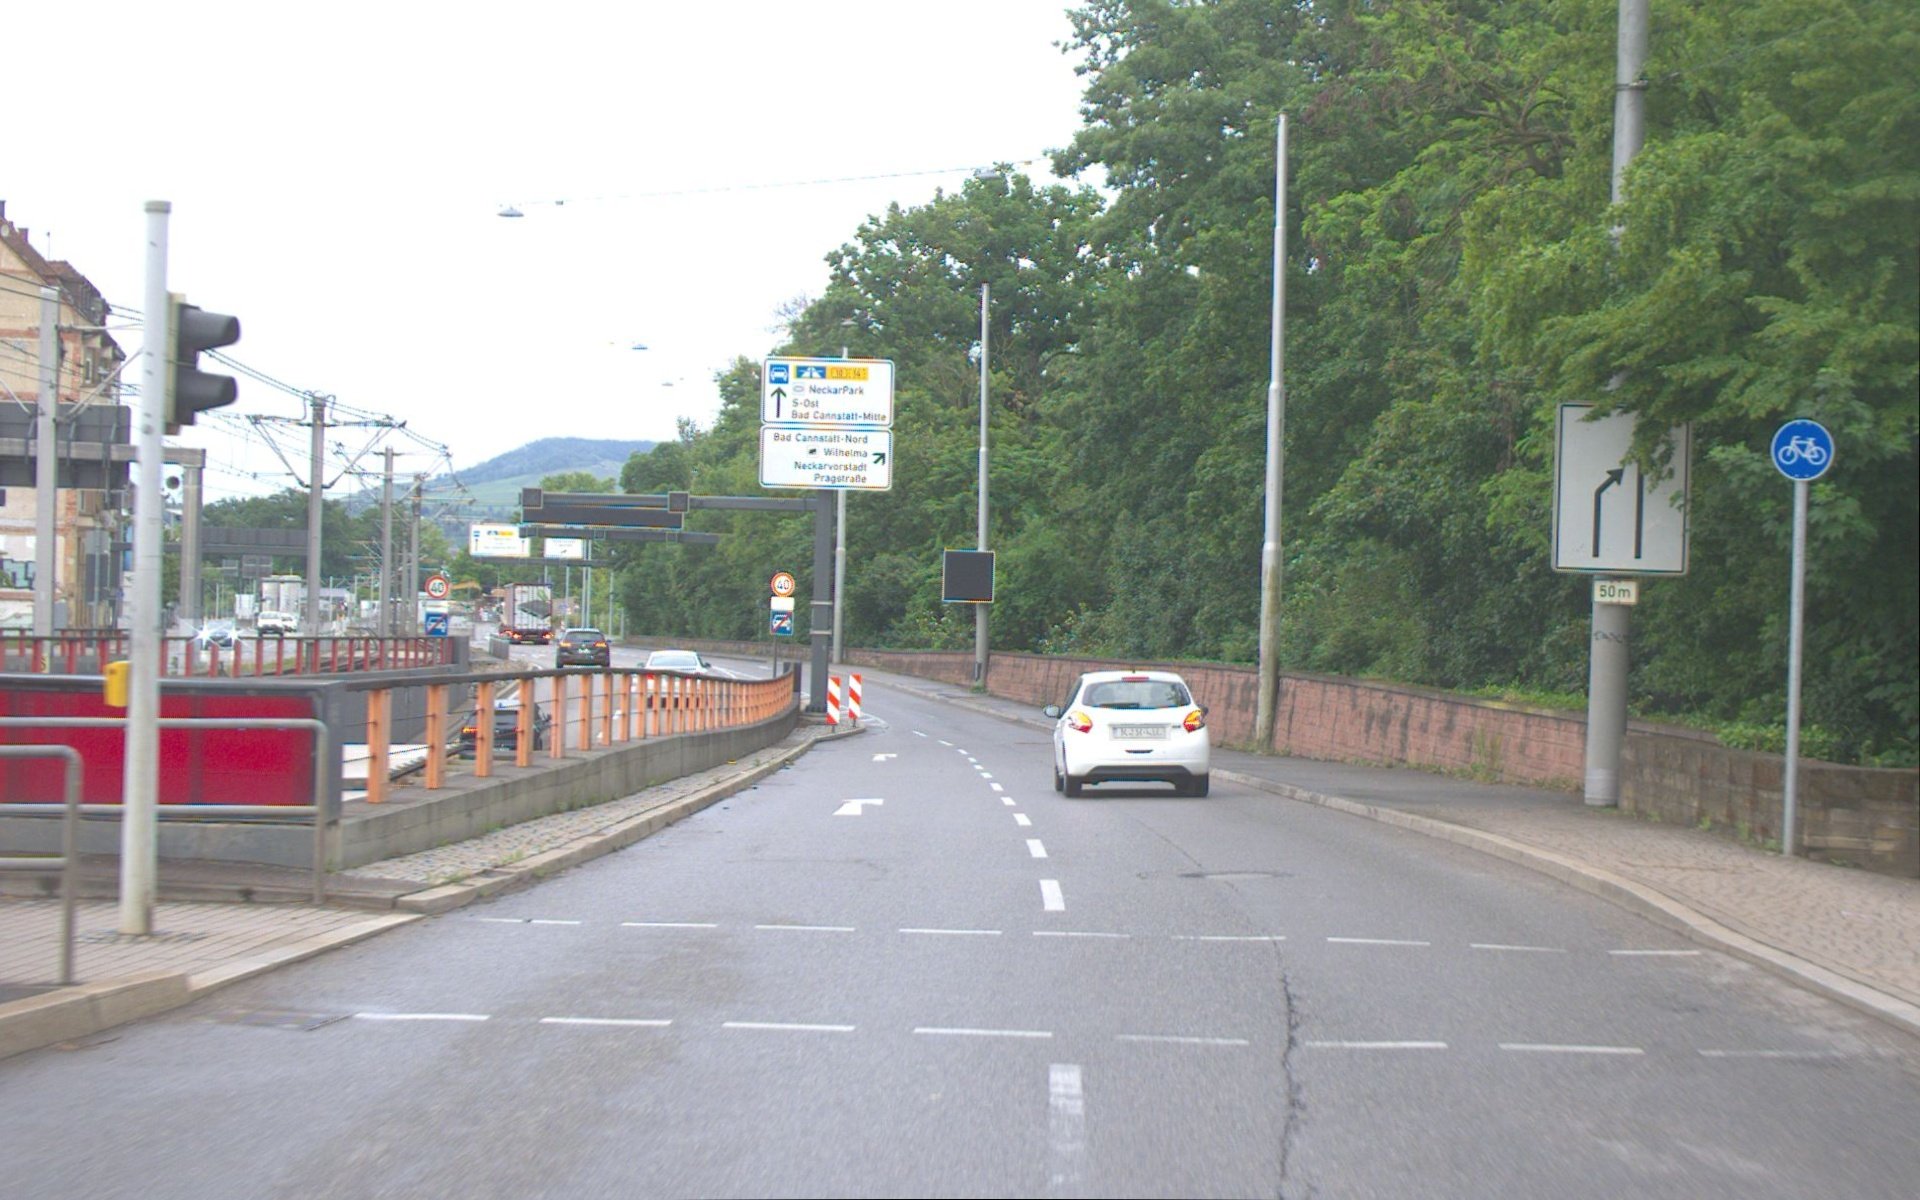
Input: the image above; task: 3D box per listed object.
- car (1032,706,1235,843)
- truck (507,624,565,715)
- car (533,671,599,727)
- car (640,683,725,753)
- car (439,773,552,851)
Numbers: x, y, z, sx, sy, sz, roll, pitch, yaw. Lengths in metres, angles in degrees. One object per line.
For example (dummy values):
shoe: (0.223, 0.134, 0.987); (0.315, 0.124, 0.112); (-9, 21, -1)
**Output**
car: (2.002, 2.116, 40.855); (1.955, 1.483, 3.999); (2, -4, -3)
truck: (-28.562, 4.741, 231.186); (3.464, 5.383, 12.051); (2, -4, -8)
car: (-13.371, 3.353, 116.560); (1.993, 1.866, 4.000); (0, -2, -9)
car: (-7.683, 3.249, 94.959); (2.081, 1.866, 4.096); (0, -2, -8)
car: (-10.113, 4.611, 75.105); (1.993, 1.570, 4.000); (0, -2, -1)
